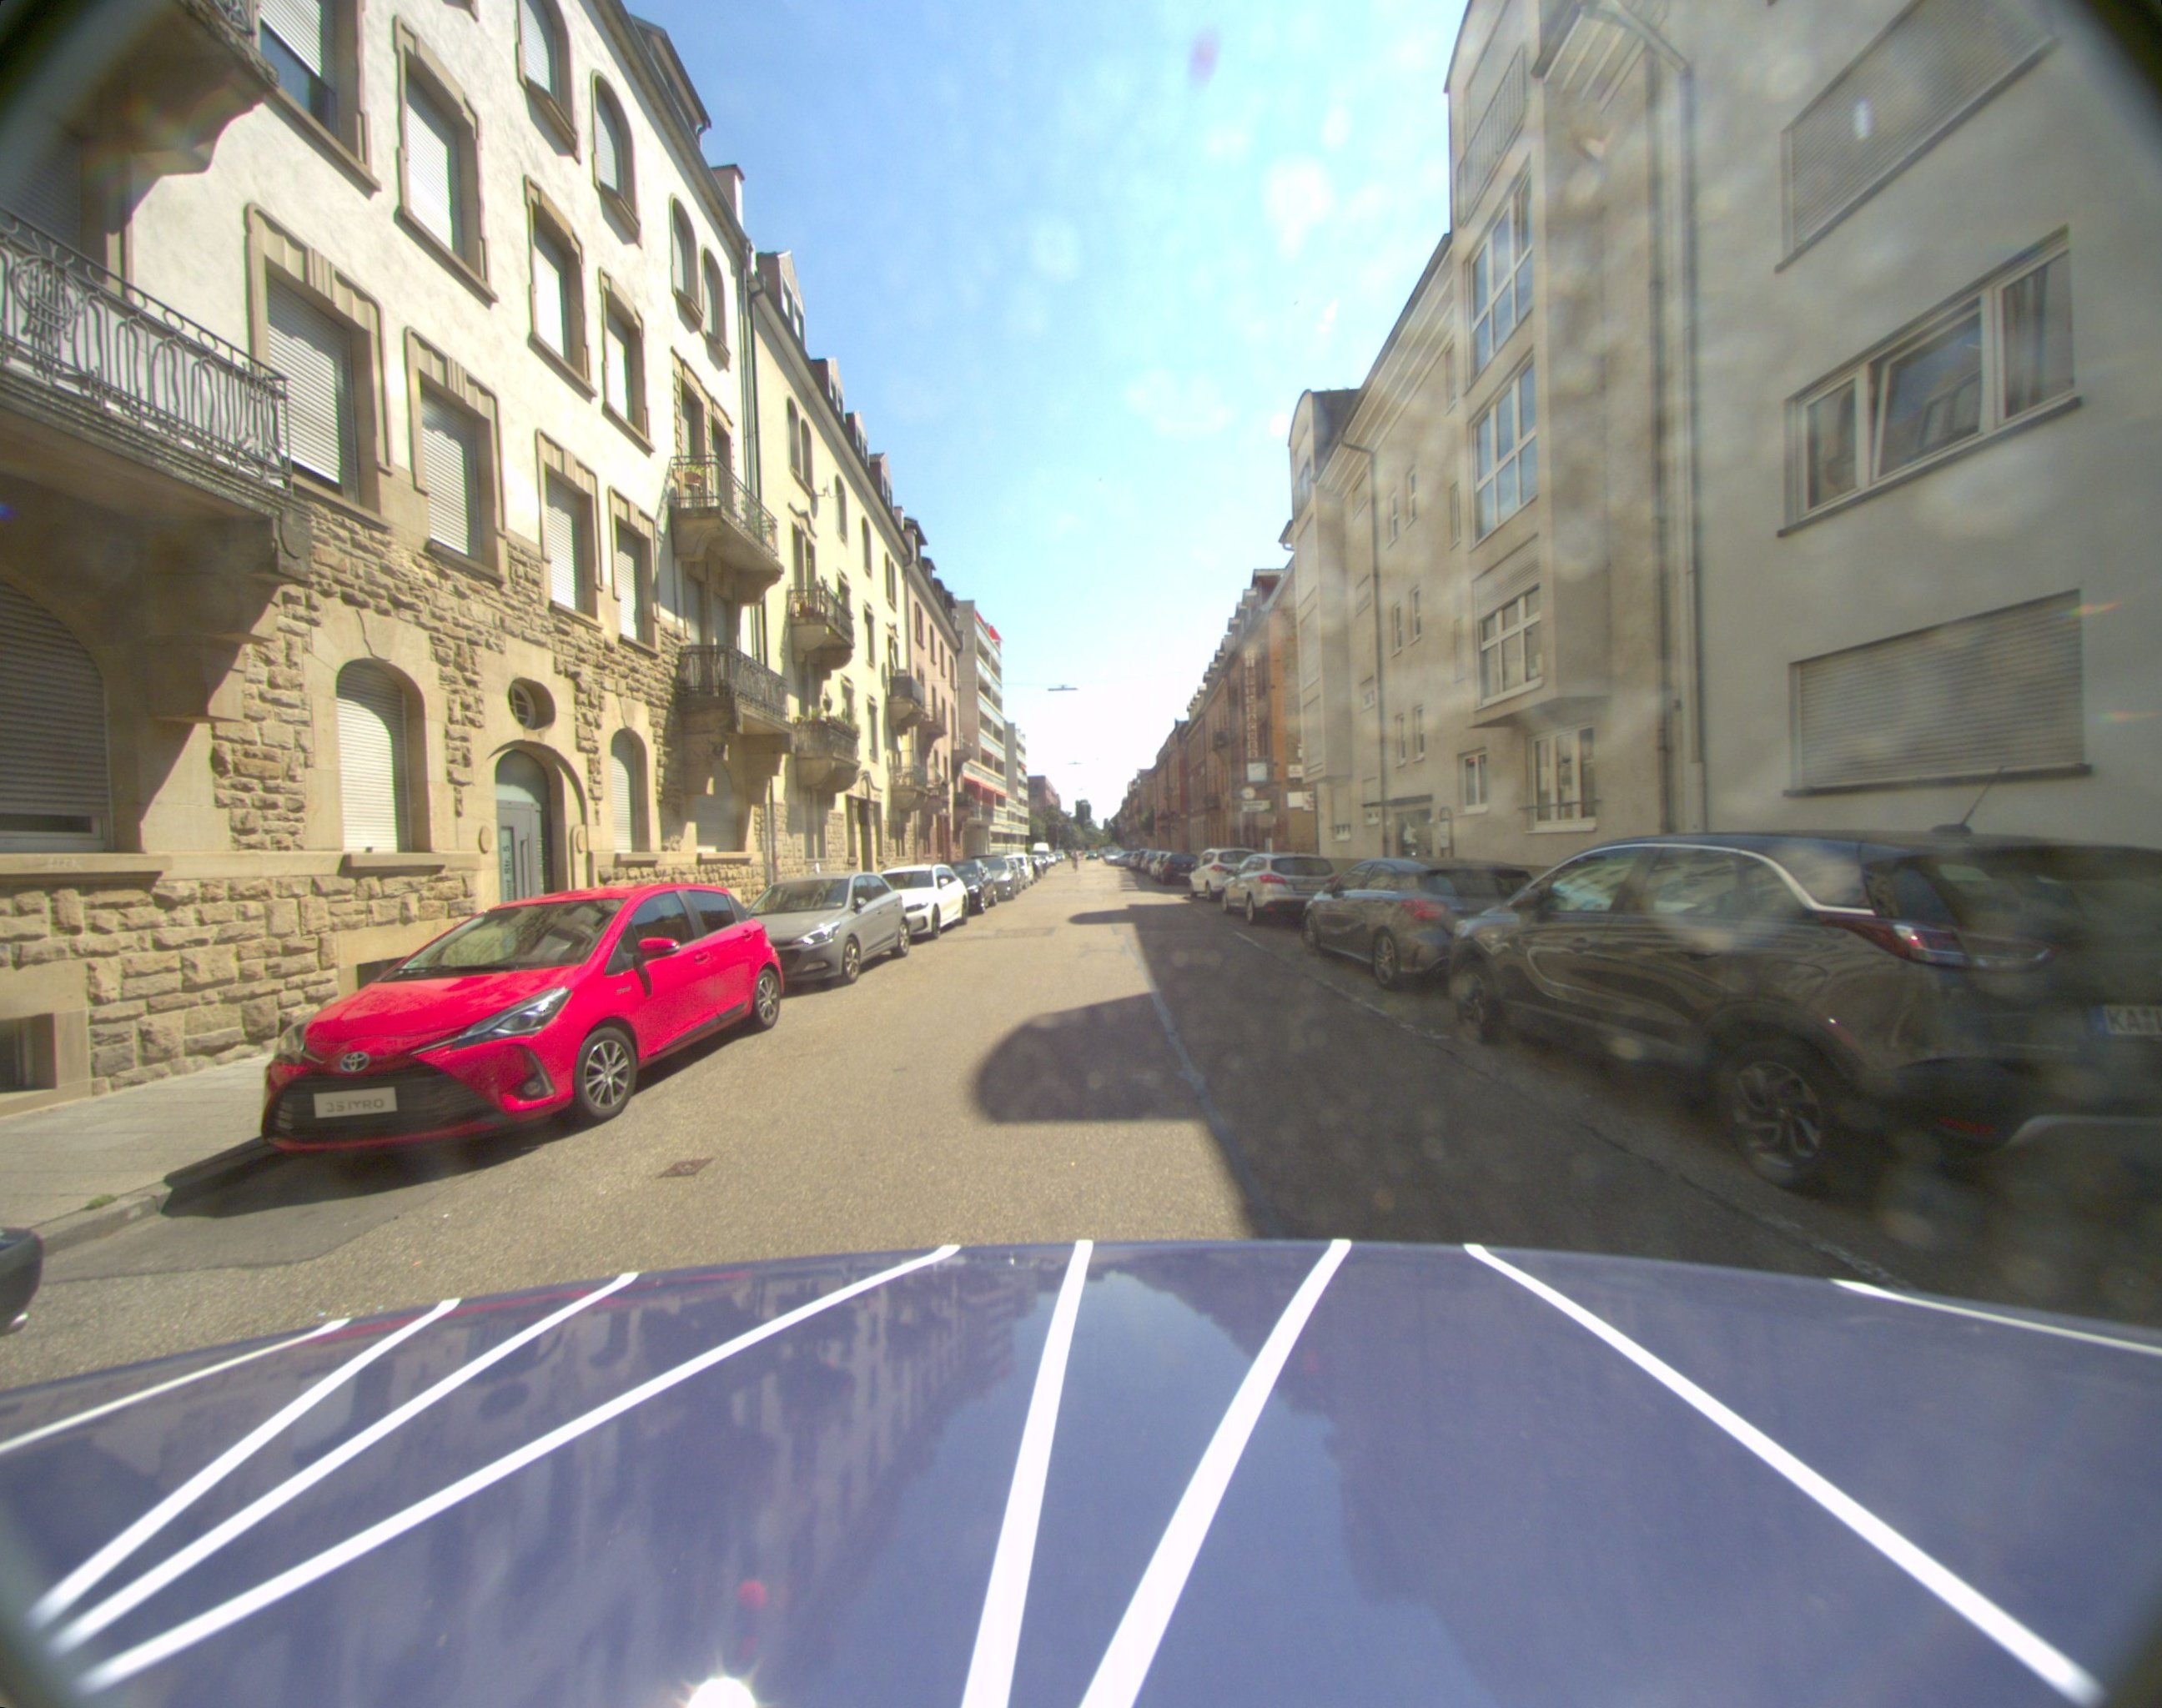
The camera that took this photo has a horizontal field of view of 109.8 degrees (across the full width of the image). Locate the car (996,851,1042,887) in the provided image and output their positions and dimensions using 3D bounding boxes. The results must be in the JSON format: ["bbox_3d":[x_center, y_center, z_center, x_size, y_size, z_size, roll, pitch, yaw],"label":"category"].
[{"bbox_3d":[-3.072,0.724,38.539,1.651,1.613,4.092,-2,1,5],"label":"car"}]

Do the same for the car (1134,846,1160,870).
[{"bbox_3d":[4.753,0.290,55.020,1.450,1.633,3.525,2,1,0],"label":"car"}]

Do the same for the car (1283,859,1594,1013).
[{"bbox_3d":[3.993,0.799,9.439,1.769,1.385,4.347,0,1,-1],"label":"car"}]

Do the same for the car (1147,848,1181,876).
[{"bbox_3d":[4.831,0.442,44.477,1.450,1.534,3.524,2,1,-2],"label":"car"}]

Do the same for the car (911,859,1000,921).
[{"bbox_3d":[-3.475,0.950,21.902,1.741,1.449,4.667,-2,1,0],"label":"car"}]

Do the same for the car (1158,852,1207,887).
[{"bbox_3d":[4.524,0.655,34.479,1.781,1.421,3.836,2,1,2],"label":"car"}]

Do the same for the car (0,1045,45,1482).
[{"bbox_3d":[-3.737,1.126,0.170,1.516,1.391,3.971,-4,1,-2],"label":"car"}]

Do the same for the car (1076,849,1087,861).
[{"bbox_3d":[0.101,0.142,126.512,1.826,2.002,3.867,-2,1,1],"label":"car"}]

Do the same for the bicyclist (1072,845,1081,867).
[{"bbox_3d":[-0.336,0.181,57.650,0.645,1.640,0.622,-2,1,1],"label":"bicyclist"}]

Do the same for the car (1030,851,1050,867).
[{"bbox_3d":[-4.208,0.530,78.668,1.717,1.543,3.999,-2,1,1],"label":"car"}]

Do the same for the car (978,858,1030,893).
[{"bbox_3d":[-3.320,0.890,33.504,1.791,1.350,4.352,-2,0,1],"label":"car"}]

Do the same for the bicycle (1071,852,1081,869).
[{"bbox_3d":[-0.337,0.488,57.597,0.671,1.169,2.094,-2,1,1],"label":"bicycle"}]

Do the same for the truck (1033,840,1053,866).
[{"bbox_3d":[-4.258,-0.124,84.918,1.869,2.715,4.507,-2,1,1],"label":"truck"}]

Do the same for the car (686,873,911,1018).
[{"bbox_3d":[-3.776,1.136,10.921,1.593,1.444,3.856,-4,1,2],"label":"car"}]

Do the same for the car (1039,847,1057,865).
[{"bbox_3d":[-3.926,0.217,90.610,1.902,2.002,3.999,-2,1,1],"label":"car"}]

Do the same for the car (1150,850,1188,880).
[{"bbox_3d":[4.540,0.533,39.611,1.632,1.421,3.678,2,1,2],"label":"car"}]

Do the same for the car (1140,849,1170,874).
[{"bbox_3d":[4.736,0.428,48.824,1.450,1.464,3.525,2,1,-1],"label":"car"}]

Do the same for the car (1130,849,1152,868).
[{"bbox_3d":[4.705,0.343,59.958,1.450,1.391,3.525,2,1,1],"label":"car"}]

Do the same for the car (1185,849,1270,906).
[{"bbox_3d":[4.447,0.673,23.603,1.633,1.540,3.851,2,1,-3],"label":"car"}]

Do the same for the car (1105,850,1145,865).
[{"bbox_3d":[4.432,0.324,76.692,3.996,1.422,1.678,-2,1,2],"label":"car"}]

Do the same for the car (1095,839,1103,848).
[{"bbox_3d":[4.148,-2.489,173.901,1.785,2.002,4.000,-2,1,3],"label":"car"}]

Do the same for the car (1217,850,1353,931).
[{"bbox_3d":[4.255,0.684,16.584,1.735,1.486,4.347,1,1,-1],"label":"car"}]

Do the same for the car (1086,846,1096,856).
[{"bbox_3d":[1.581,-0.484,121.690,1.625,1.601,3.596,-2,1,0],"label":"car"}]

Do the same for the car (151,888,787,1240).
[{"bbox_3d":[-3.809,1.144,5.740,1.574,1.444,3.842,-4,1,0],"label":"car"}]

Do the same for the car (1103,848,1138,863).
[{"bbox_3d":[4.483,0.158,86.986,3.996,1.491,1.652,-2,1,1],"label":"car"}]

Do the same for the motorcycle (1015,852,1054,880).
[{"bbox_3d":[-2.803,0.719,46.046,2.197,1.422,0.732,-7,2,-40],"label":"motorcycle"}]

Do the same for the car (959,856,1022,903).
[{"bbox_3d":[-3.225,0.866,27.860,1.828,1.423,4.488,-3,1,-2],"label":"car"}]

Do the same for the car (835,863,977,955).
[{"bbox_3d":[-3.555,1.055,16.362,1.720,1.444,4.597,-4,1,2],"label":"car"}]

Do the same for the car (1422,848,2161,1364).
[{"bbox_3d":[3.710,0.796,4.428,1.608,1.635,3.976,0,1,-1],"label":"car"}]

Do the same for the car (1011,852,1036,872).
[{"bbox_3d":[-4.790,0.634,63.935,1.754,1.485,3.902,-2,1,1],"label":"car"}]
